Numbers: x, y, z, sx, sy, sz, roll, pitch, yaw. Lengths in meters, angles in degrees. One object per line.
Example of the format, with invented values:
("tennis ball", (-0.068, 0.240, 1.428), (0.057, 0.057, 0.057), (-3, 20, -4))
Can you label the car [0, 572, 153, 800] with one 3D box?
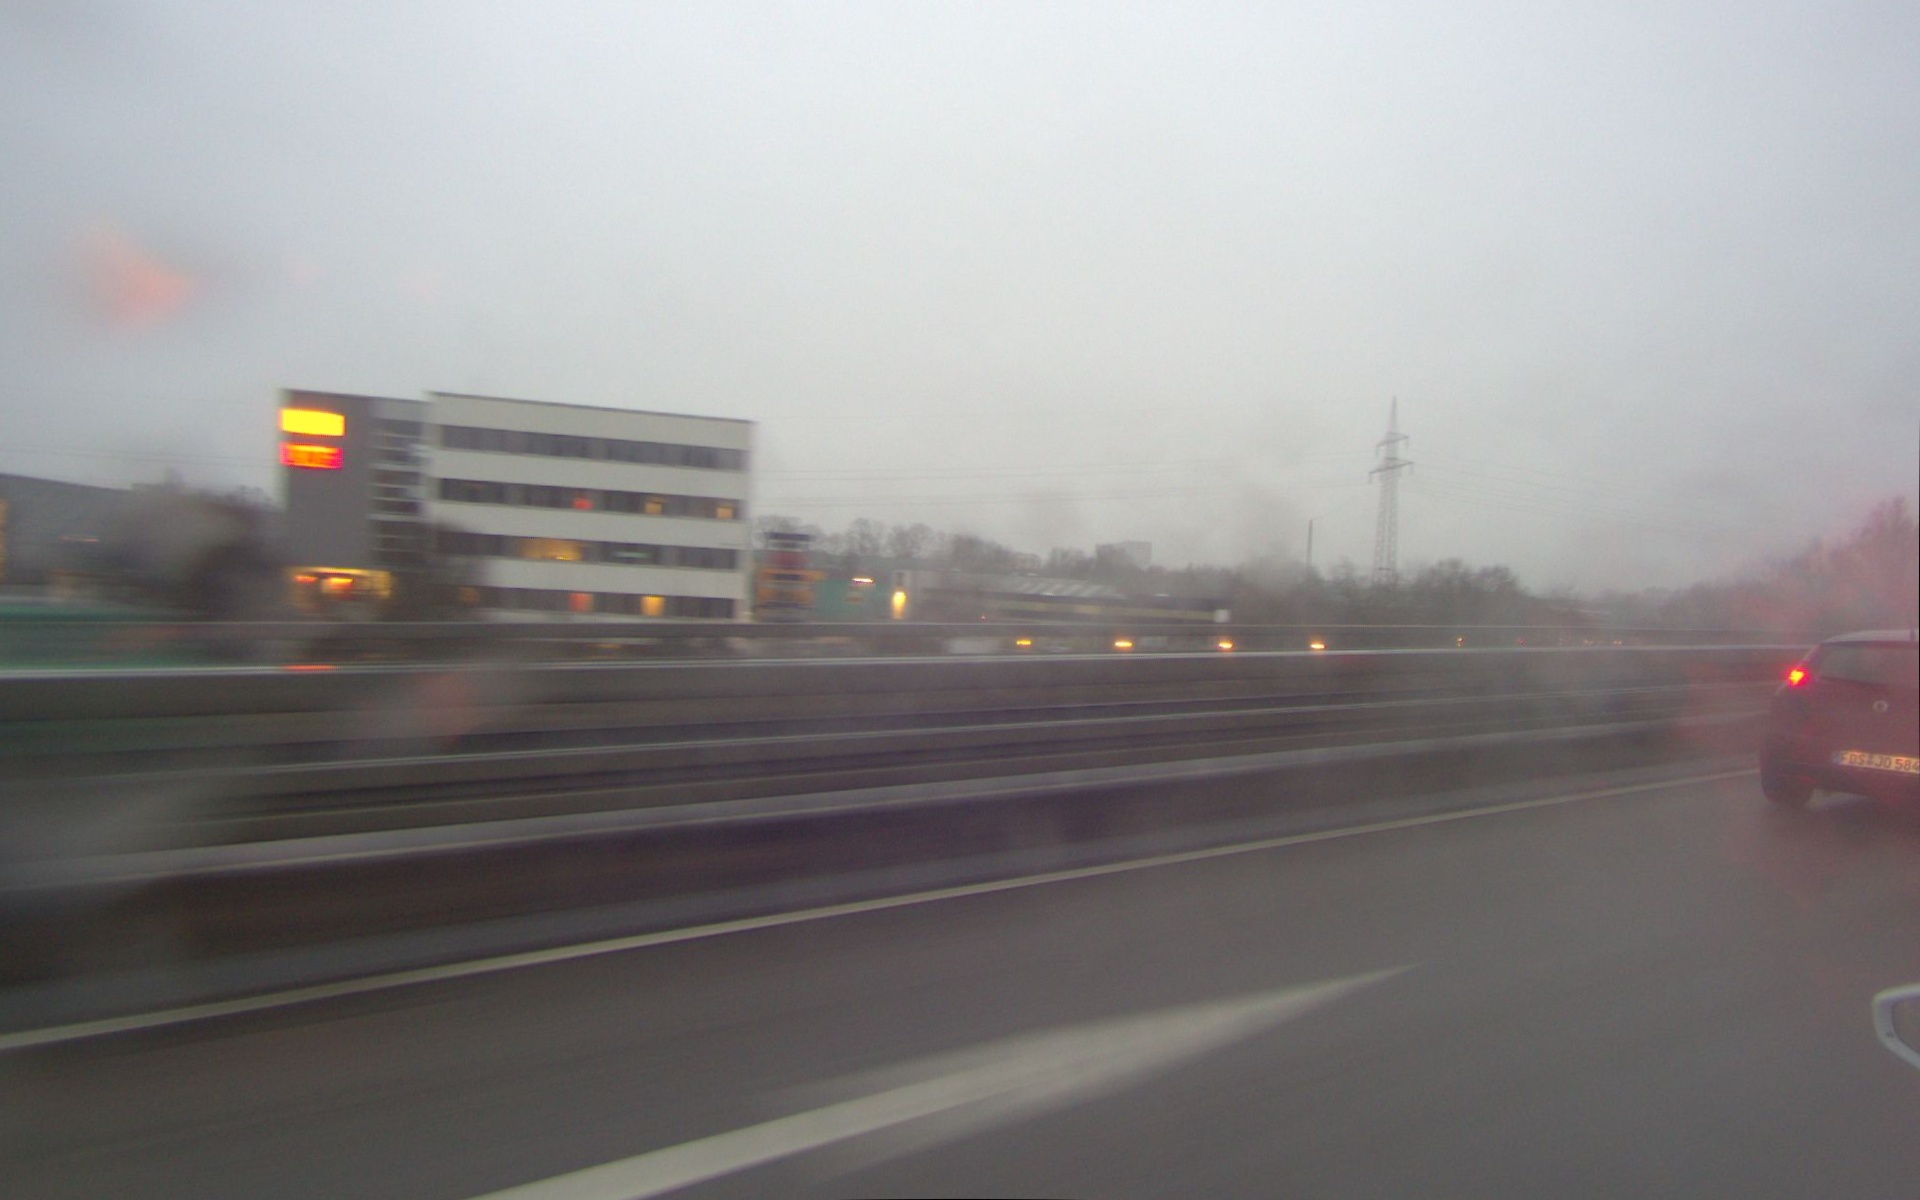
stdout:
("car", (-7.955, 0.544, 6.132), (4.450, 1.425, 1.672), (0, 0, -28))

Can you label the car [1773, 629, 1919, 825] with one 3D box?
("car", (8.562, 0.984, 8.346), (3.956, 1.410, 1.617), (2, -3, -32))
